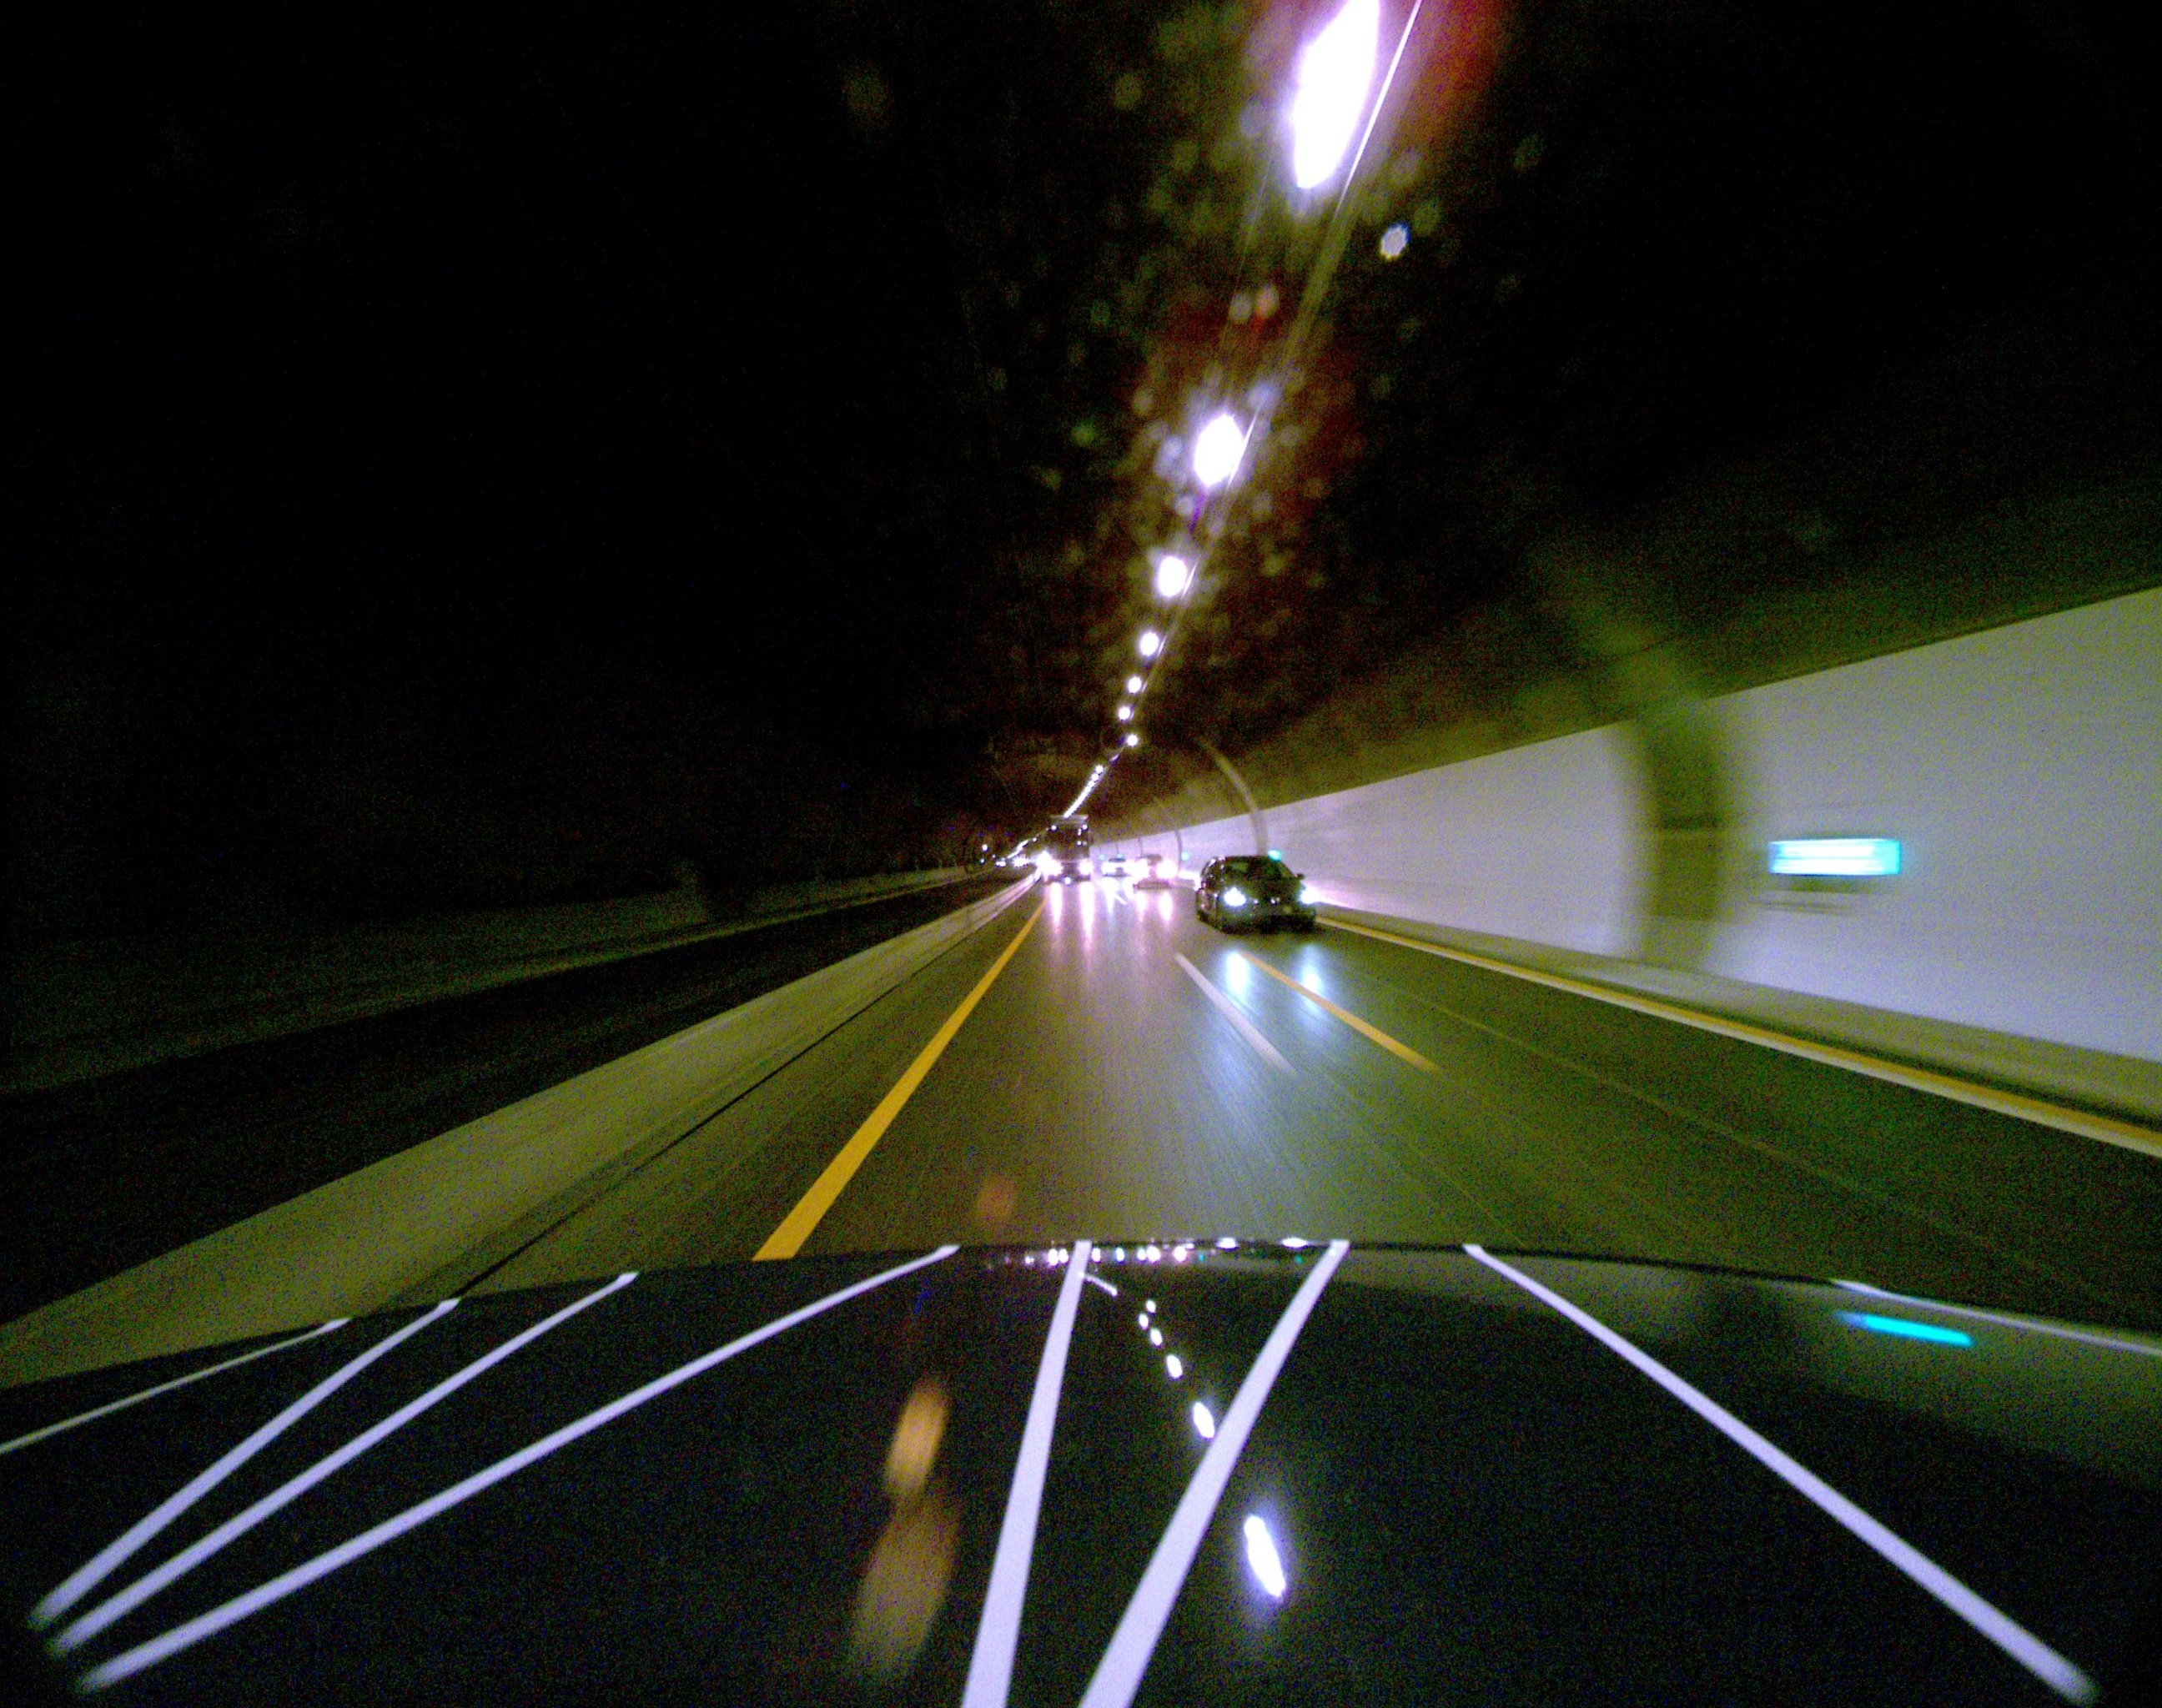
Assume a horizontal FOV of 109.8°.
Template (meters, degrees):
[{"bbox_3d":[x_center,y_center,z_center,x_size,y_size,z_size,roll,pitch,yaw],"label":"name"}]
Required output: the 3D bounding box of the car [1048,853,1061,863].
[{"bbox_3d":[-4.098,0.571,116.870,1.999,1.524,3.999,-2,0,-3],"label":"car"}]

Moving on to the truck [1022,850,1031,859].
[{"bbox_3d":[-17.750,0.078,248.029,2.611,2.723,6.393,-2,0,-8],"label":"truck"}]

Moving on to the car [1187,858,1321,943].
[{"bbox_3d":[3.460,0.851,16.129,1.782,1.430,4.883,-2,0,1],"label":"car"}]

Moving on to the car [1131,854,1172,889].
[{"bbox_3d":[3.184,0.754,34.748,1.531,1.508,2.651,-2,0,-2],"label":"car"}]

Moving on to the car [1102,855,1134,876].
[{"bbox_3d":[2.616,0.774,54.767,1.909,1.412,4.060,-2,0,-2],"label":"car"}]

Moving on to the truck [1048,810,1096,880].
[{"bbox_3d":[-0.586,-0.541,49.653,2.742,4.127,8.099,-2,0,-1],"label":"truck"}]
